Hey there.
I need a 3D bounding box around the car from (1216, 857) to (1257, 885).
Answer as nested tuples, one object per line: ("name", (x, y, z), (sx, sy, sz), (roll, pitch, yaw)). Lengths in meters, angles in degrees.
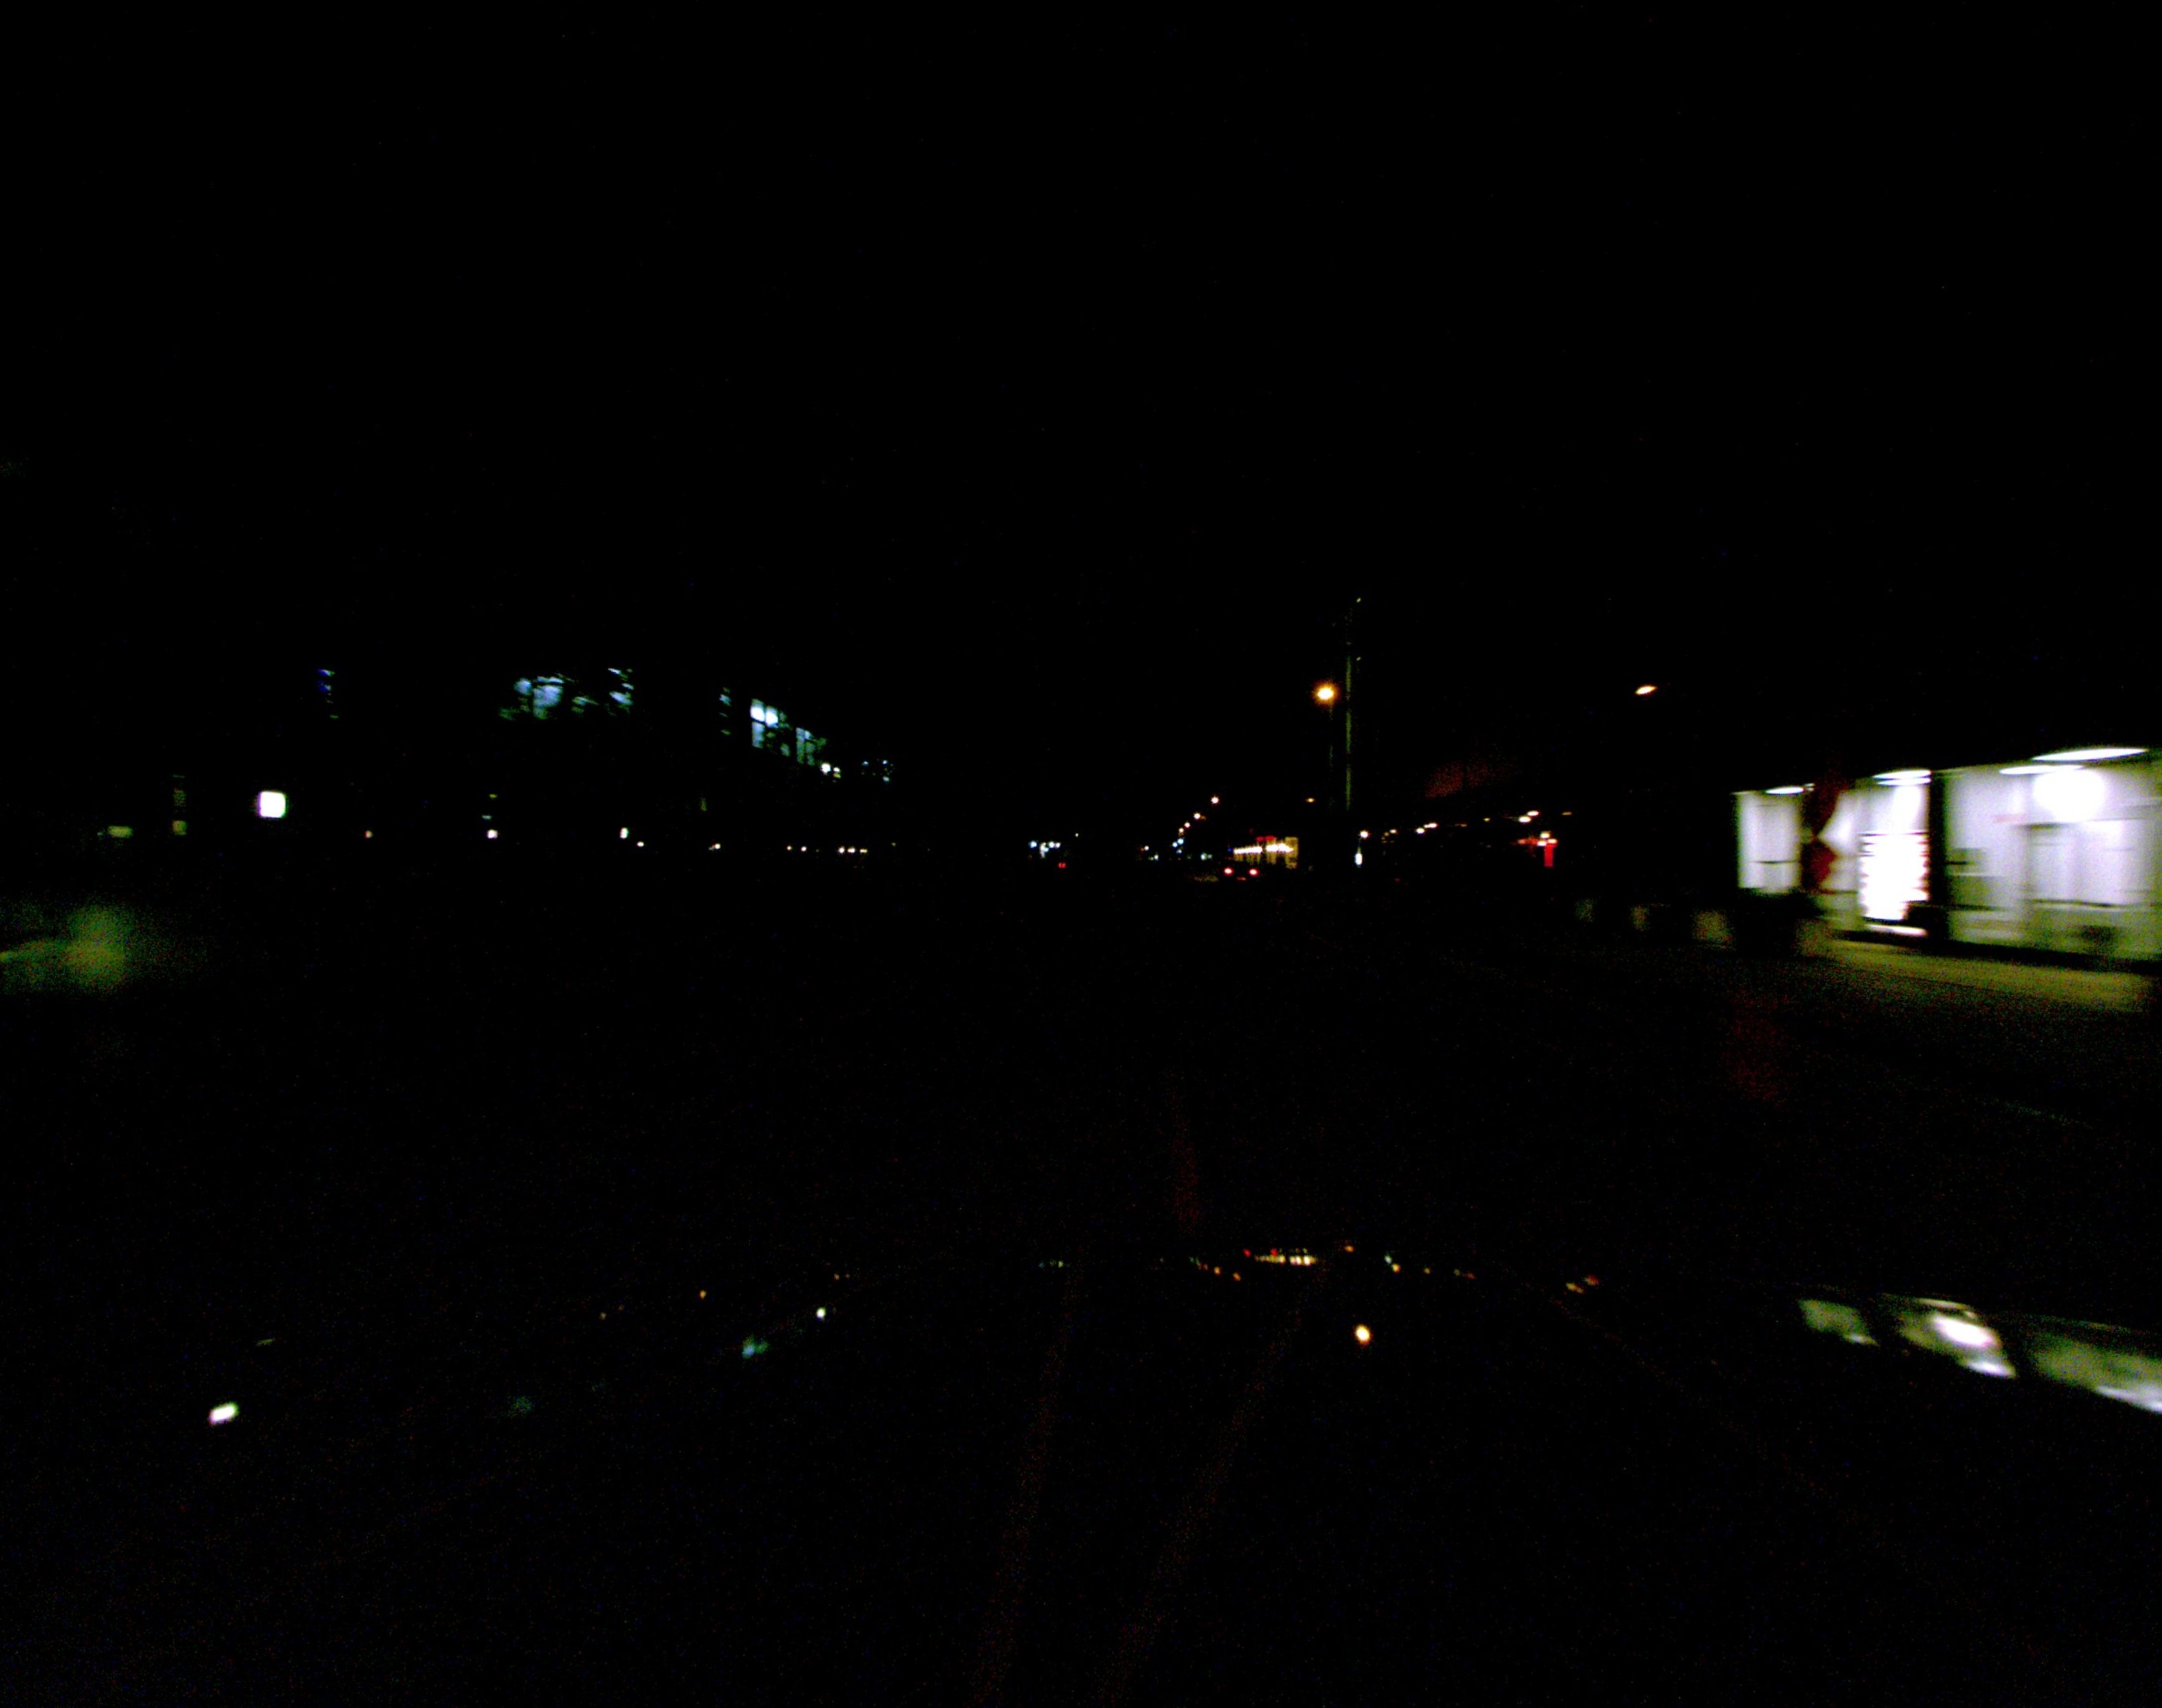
("car", (8.512, 0.901, 41.822), (1.670, 1.420, 4.001), (2, 0, 5))
